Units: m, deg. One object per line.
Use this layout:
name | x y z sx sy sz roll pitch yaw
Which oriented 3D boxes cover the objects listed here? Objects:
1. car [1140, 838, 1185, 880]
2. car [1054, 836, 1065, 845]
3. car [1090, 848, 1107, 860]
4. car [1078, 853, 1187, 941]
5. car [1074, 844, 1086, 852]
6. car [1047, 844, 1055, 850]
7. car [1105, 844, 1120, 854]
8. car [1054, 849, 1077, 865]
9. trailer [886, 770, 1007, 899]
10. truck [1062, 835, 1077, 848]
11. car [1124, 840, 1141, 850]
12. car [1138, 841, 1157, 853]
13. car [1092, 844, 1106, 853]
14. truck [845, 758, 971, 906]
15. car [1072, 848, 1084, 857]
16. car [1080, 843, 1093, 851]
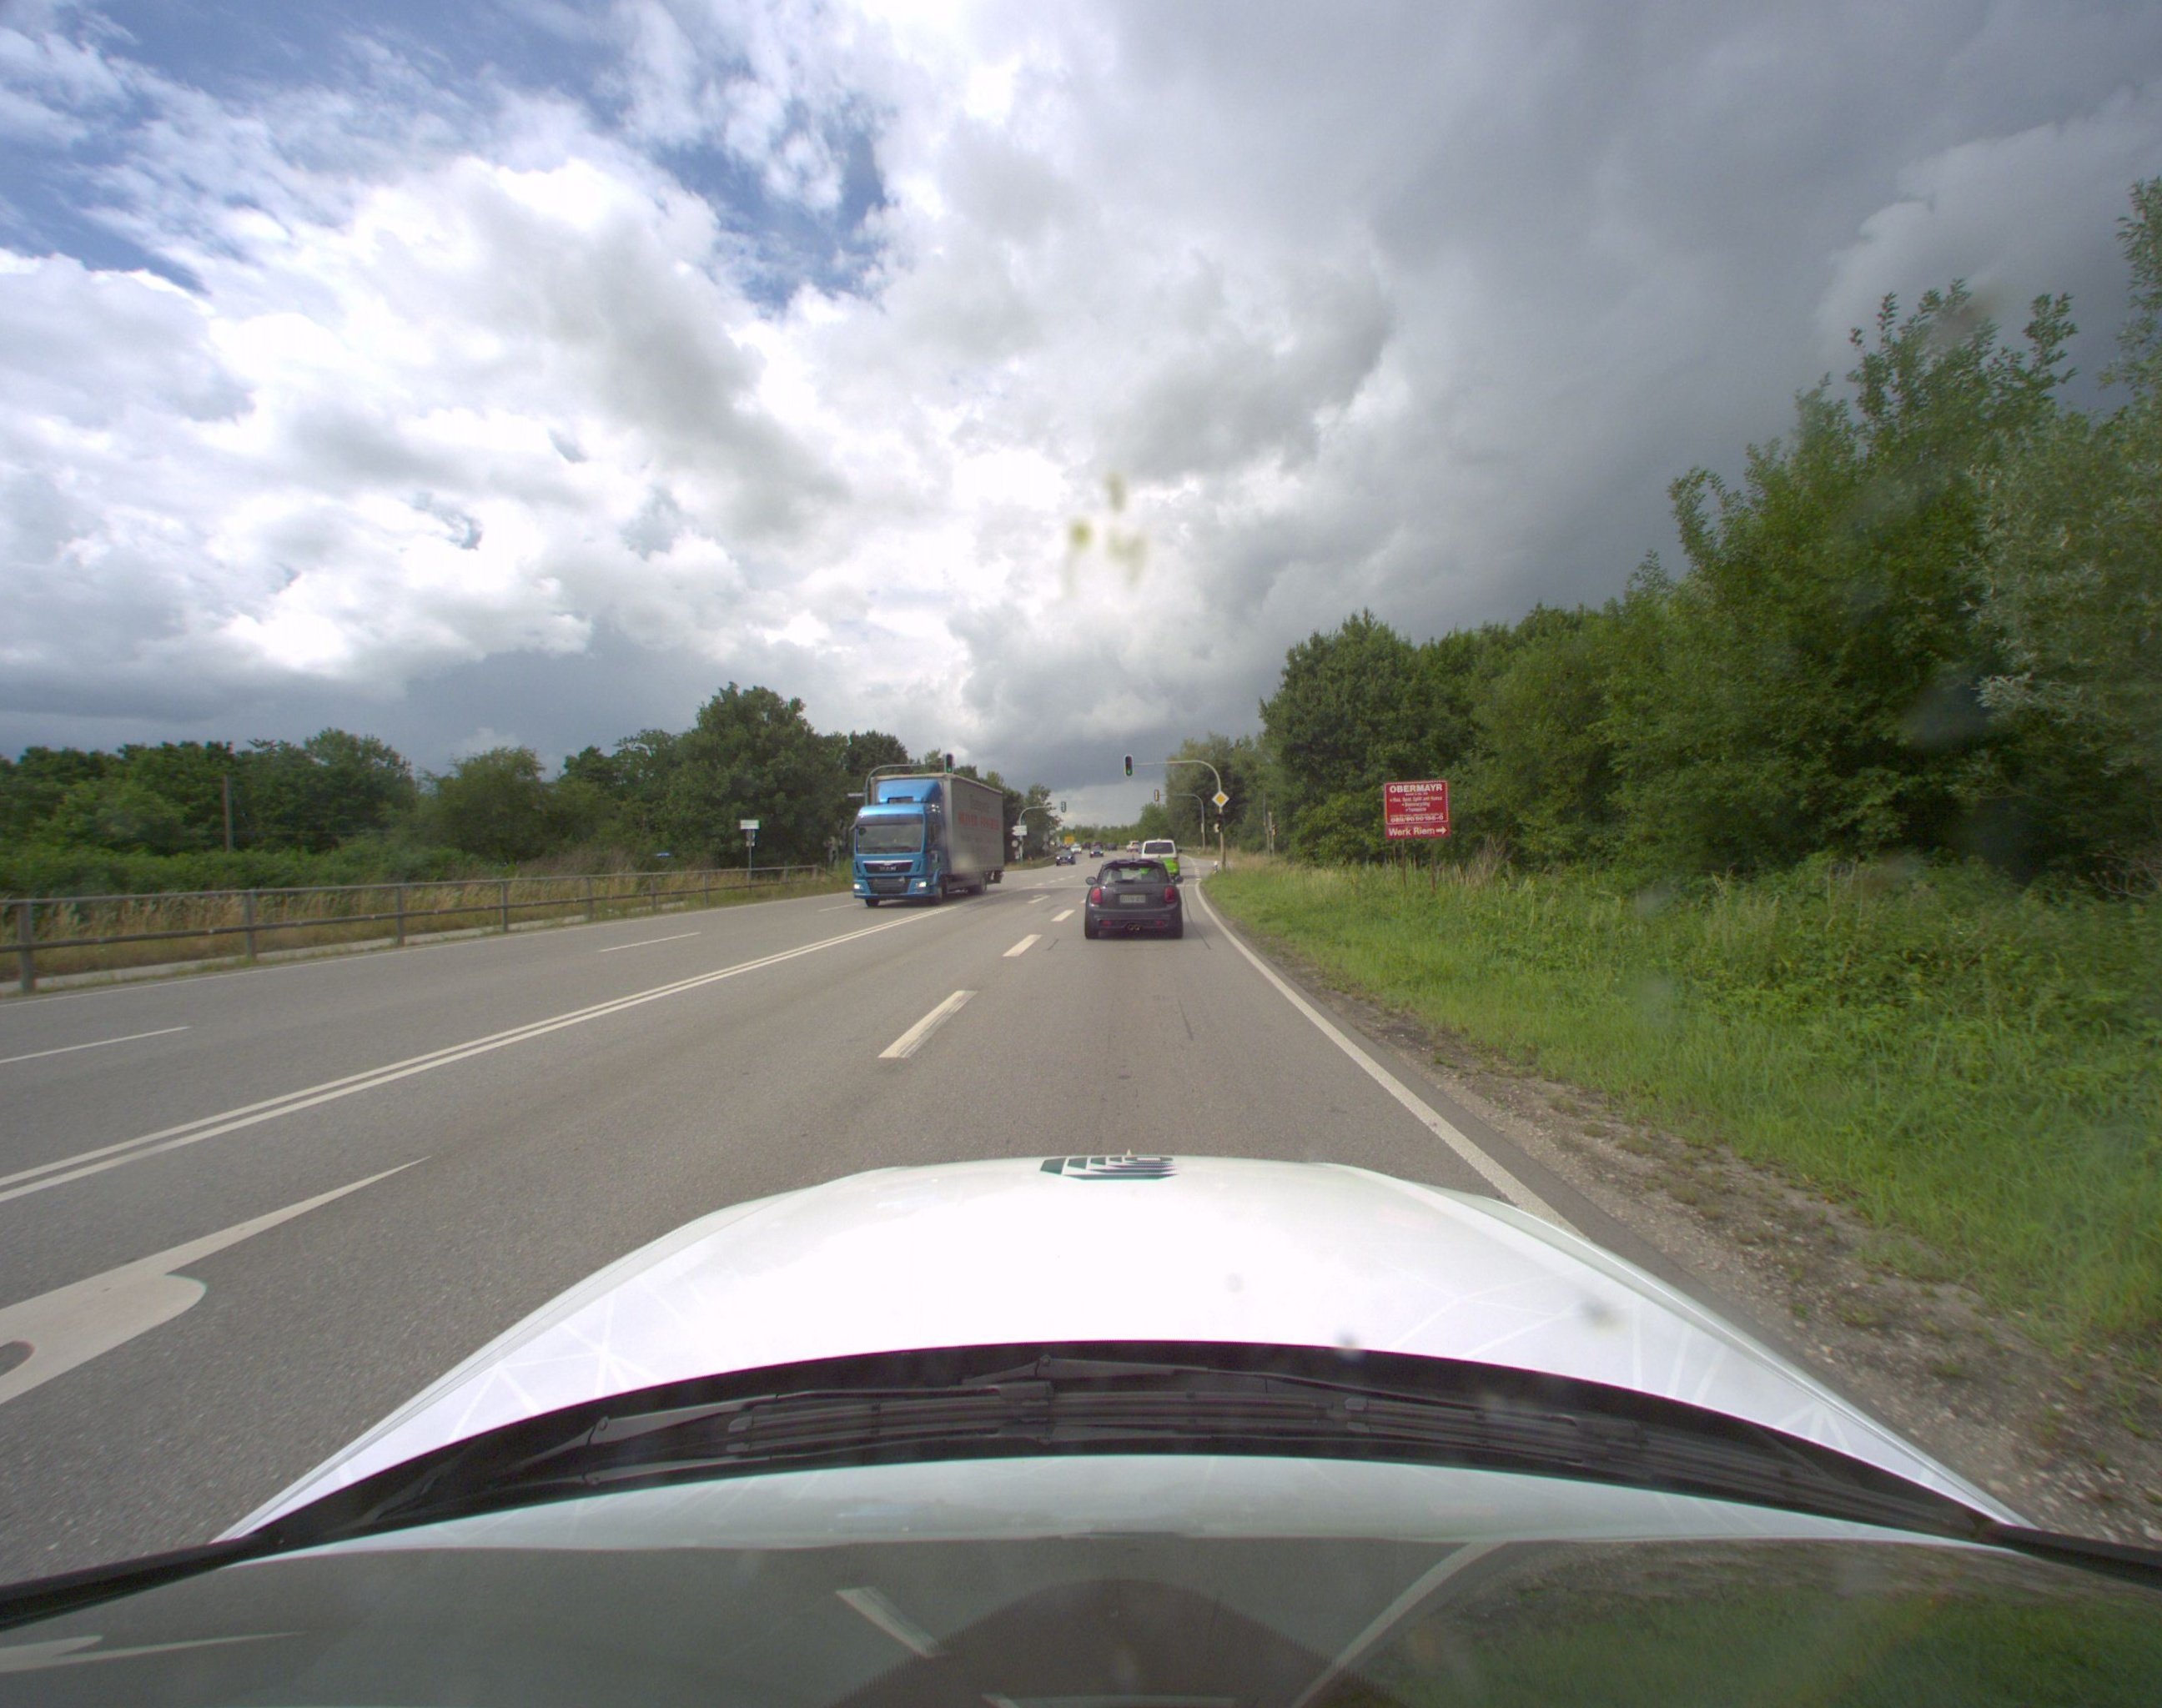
car | 4.205 0.231 41.565 1.832 1.986 3.854 -1 1 12
car | -4.396 -2.703 166.180 1.990 1.690 3.993 -3 1 -5
car | 2.493 -0.020 113.154 1.779 1.530 4.913 -4 0 7
car | 0.973 0.732 15.761 1.837 1.428 3.844 -1 0 3
car | -0.251 -1.446 197.861 1.993 1.787 4.471 -1 0 -10
car | -8.476 -2.100 230.525 1.990 1.612 3.994 -3 1 -5
car | 5.628 -0.876 147.693 1.992 1.695 4.474 -2 0 -8
car | -1.582 0.275 85.317 1.781 1.573 4.008 -2 0 7
trailer | -4.646 -0.626 29.602 2.514 4.101 6.746 -2 0 6
truck | -3.042 -3.199 214.472 2.715 2.898 8.745 -1 -2 -8
car | 8.122 -1.434 128.504 1.991 1.476 4.476 -2 0 -6
car | 9.002 -0.909 110.493 1.989 1.476 4.481 -2 0 -3
car | 3.543 -1.178 162.196 1.992 1.695 4.474 -2 0 -8
truck | -5.137 -0.616 24.817 2.527 4.096 4.007 -2 0 6
car | -0.450 -0.290 137.625 1.722 1.504 4.349 -2 1 2
car | 1.161 -1.463 178.752 1.993 1.695 4.471 -2 0 -10
